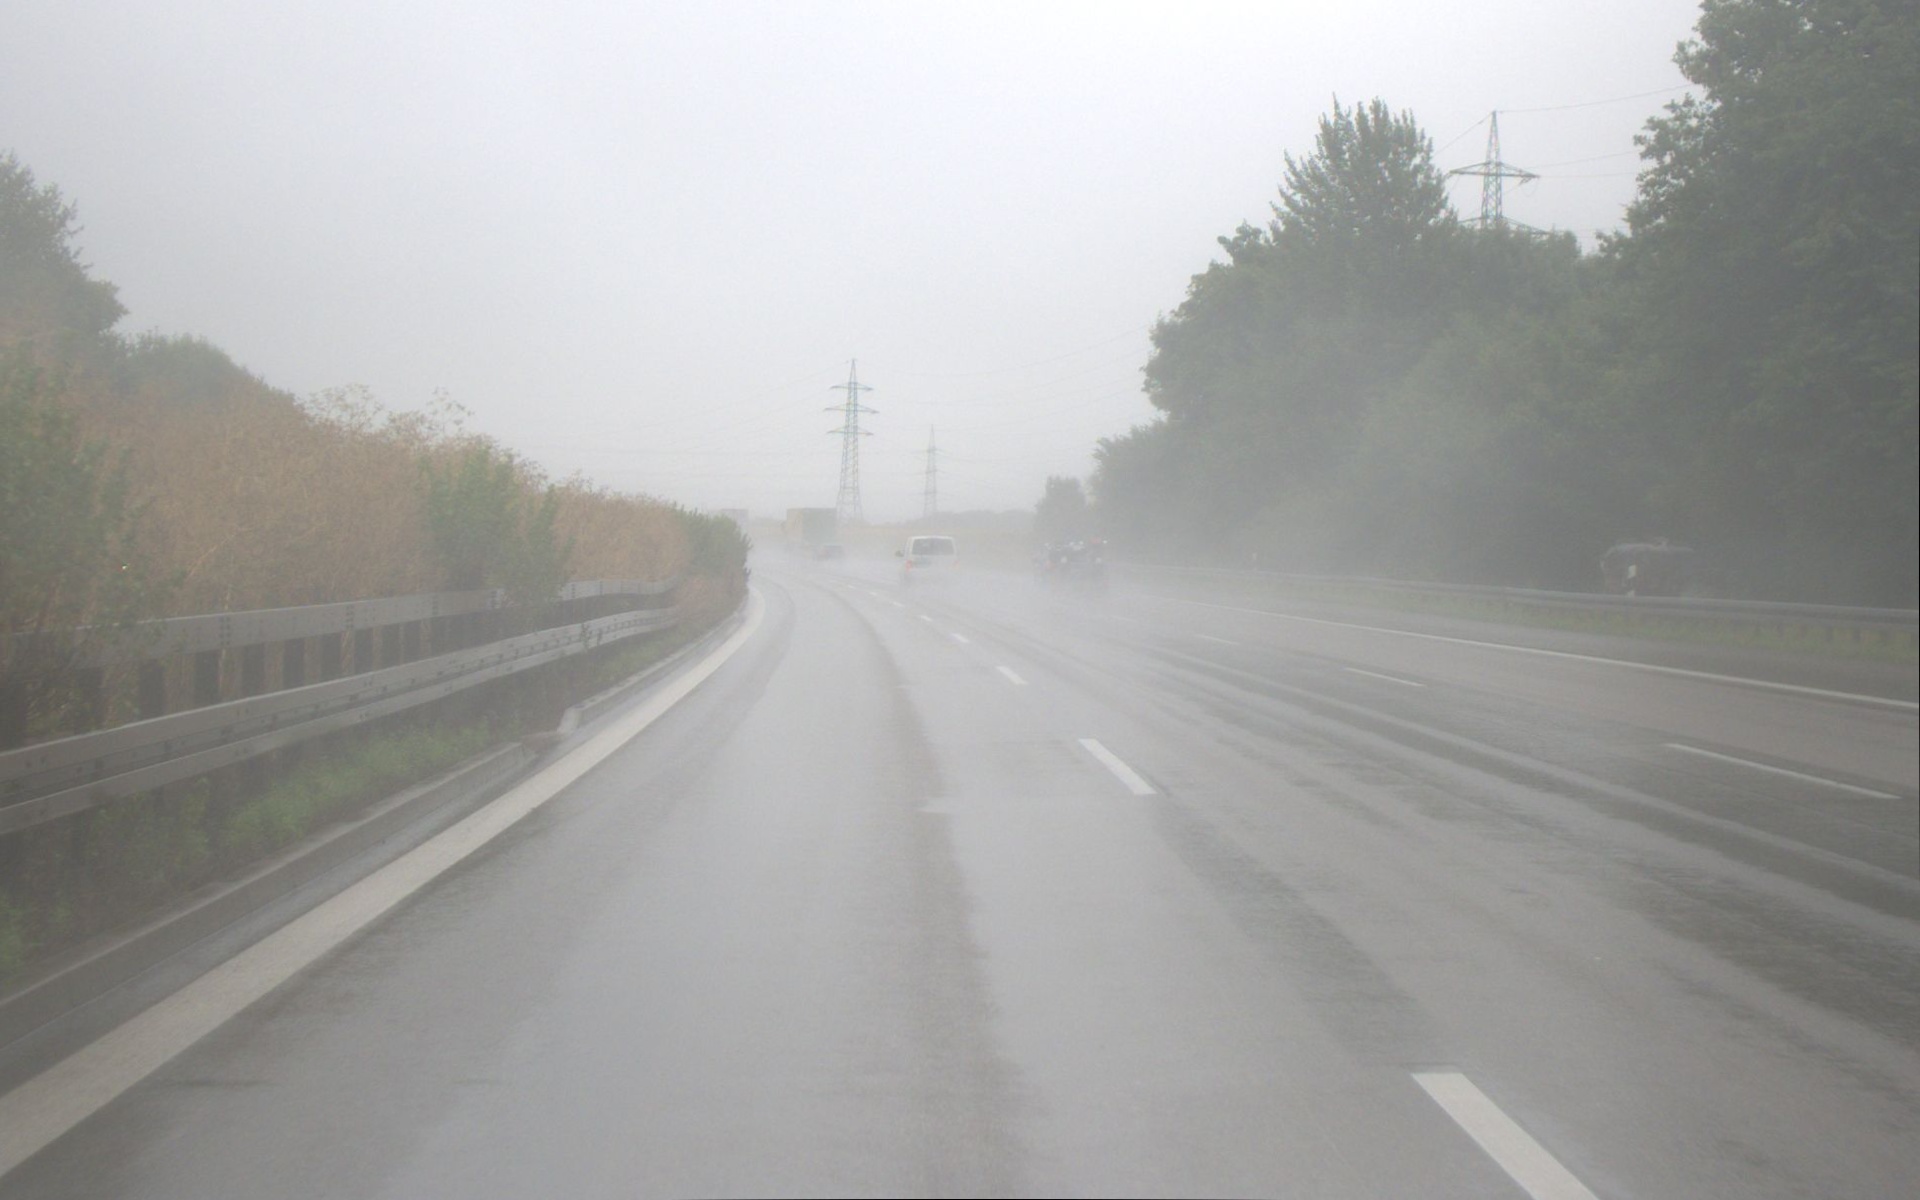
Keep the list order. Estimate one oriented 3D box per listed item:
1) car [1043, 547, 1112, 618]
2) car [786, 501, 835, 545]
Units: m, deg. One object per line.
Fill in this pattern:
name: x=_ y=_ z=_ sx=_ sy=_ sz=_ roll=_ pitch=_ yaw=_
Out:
car: x=3.660 y=-0.557 z=107.777 sx=1.807 sy=2.151 sz=4.001 roll=1 pitch=1 yaw=-3
car: x=-11.228 y=-5.778 z=258.098 sx=3.199 sy=3.182 sz=7.258 roll=0 pitch=1 yaw=-6
